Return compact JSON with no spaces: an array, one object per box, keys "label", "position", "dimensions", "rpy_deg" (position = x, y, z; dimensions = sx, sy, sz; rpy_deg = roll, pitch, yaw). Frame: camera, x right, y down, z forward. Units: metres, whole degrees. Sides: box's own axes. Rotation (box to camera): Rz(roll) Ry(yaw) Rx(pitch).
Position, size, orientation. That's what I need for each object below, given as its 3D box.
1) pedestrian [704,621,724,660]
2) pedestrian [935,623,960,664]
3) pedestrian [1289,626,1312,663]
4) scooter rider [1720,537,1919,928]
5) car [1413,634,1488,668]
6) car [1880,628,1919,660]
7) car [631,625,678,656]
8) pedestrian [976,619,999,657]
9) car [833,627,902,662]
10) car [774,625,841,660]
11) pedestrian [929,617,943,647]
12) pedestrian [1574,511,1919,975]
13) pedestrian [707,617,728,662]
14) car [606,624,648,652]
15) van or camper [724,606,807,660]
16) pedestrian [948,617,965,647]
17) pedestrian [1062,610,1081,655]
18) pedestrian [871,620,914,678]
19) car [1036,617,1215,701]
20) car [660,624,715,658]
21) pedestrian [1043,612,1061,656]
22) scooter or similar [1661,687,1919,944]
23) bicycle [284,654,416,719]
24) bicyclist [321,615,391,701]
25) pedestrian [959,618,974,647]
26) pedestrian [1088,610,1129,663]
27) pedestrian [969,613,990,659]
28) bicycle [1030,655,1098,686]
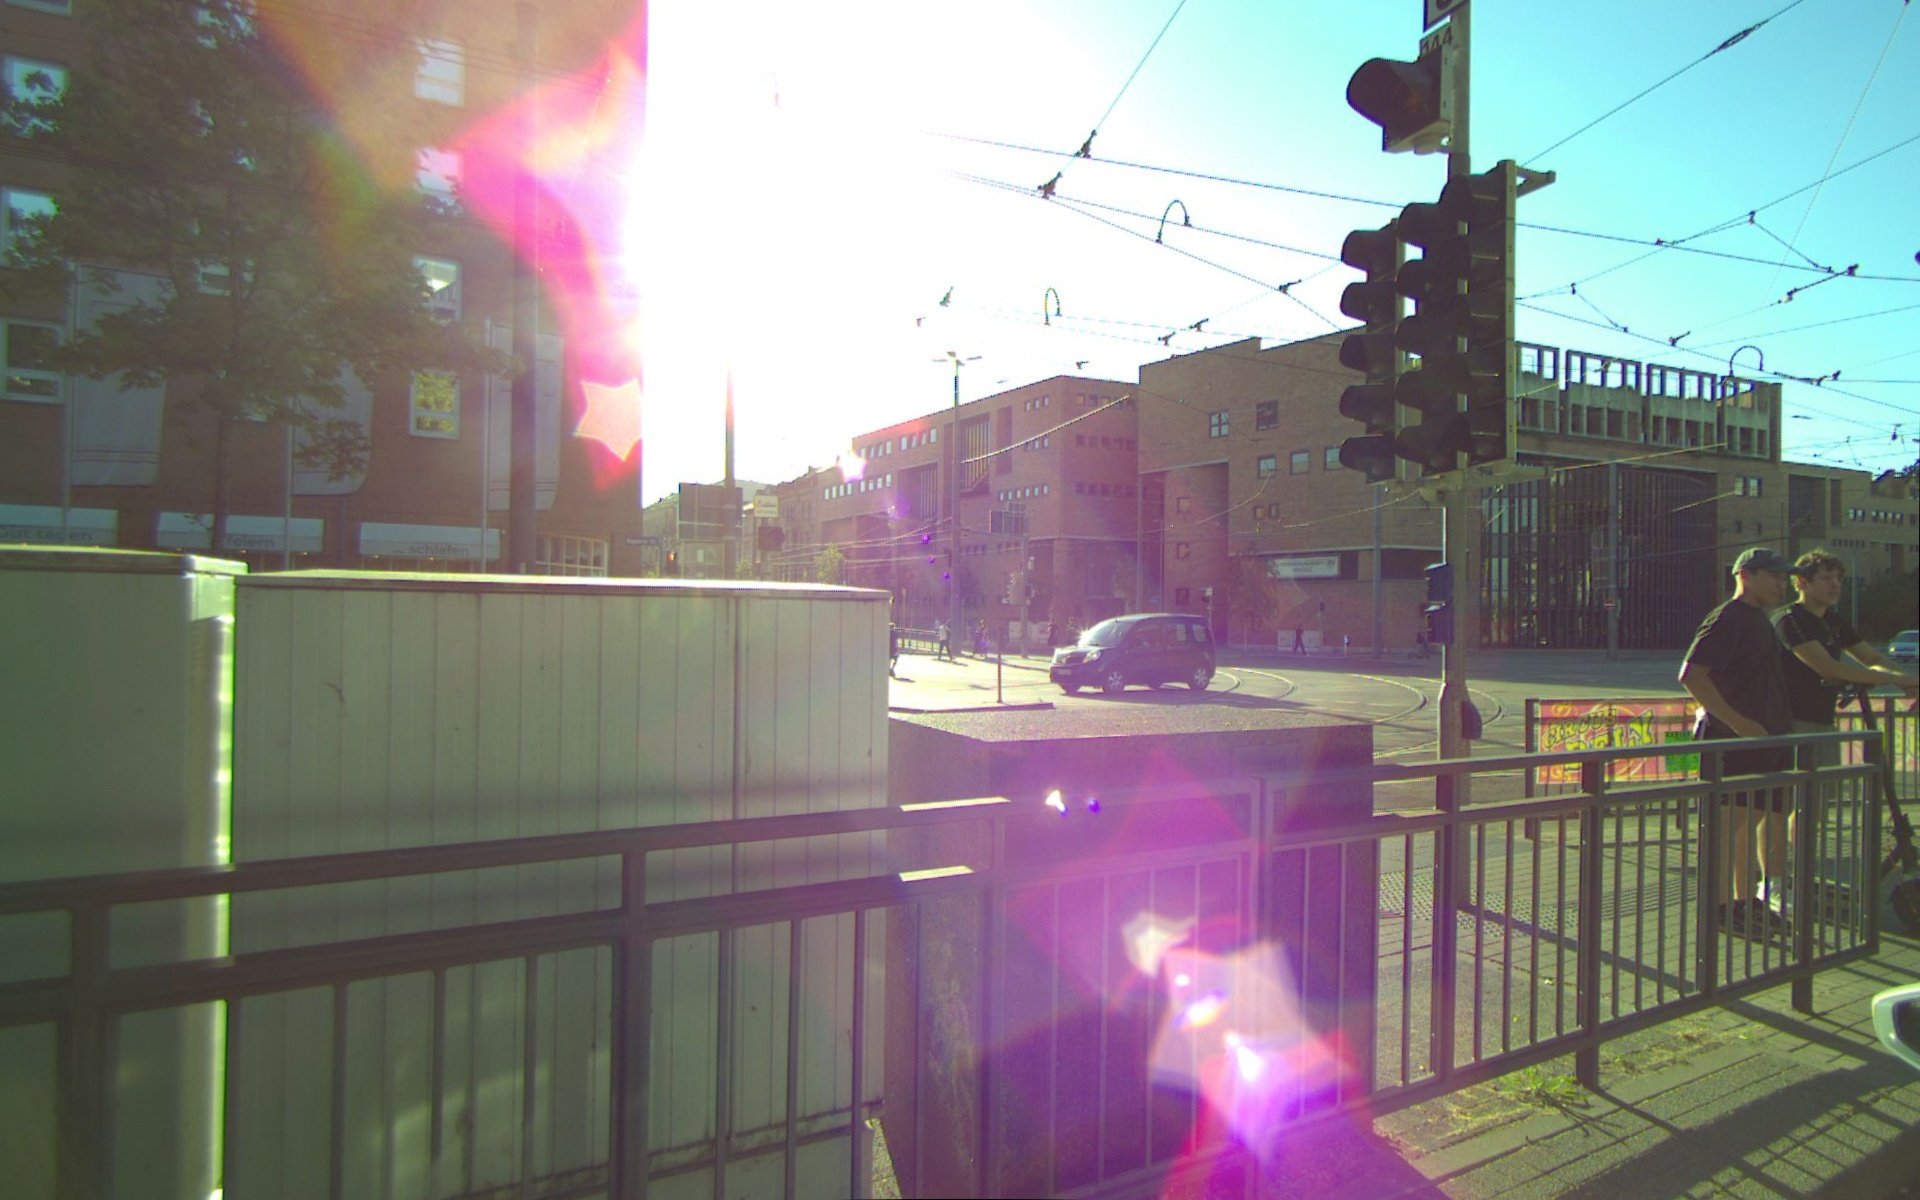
[{"label":"pedestrian","position":[-11.693,1.924,47.711],"dimensions":[0.597,1.843,0.848],"rpy_deg":[1,-1,-38]},{"label":"pedestrian","position":[-0.545,1.874,43.730],"dimensions":[0.857,1.775,0.672],"rpy_deg":[1,-1,-30]},{"label":"pedestrian","position":[18.021,2.338,53.198],"dimensions":[0.866,1.927,0.718],"rpy_deg":[2,0,-33]},{"label":"scooter rider","position":[4.475,0.655,5.239],"dimensions":[0.670,1.877,0.564],"rpy_deg":[3,-2,-25]},{"label":"car","position":[30.197,3.115,61.818],"dimensions":[4.134,2.040,1.989],"rpy_deg":[1,-2,-24]},{"label":"car","position":[48.922,2.258,51.693],"dimensions":[3.962,1.598,1.610],"rpy_deg":[1,-2,-36]},{"label":"car","position":[-18.211,2.402,59.799],"dimensions":[1.738,1.750,3.965],"rpy_deg":[1,-2,-32]},{"label":"pedestrian","position":[1.276,1.801,47.350],"dimensions":[0.860,1.775,0.670],"rpy_deg":[1,-2,-39]},{"label":"car","position":[-4.817,2.237,51.806],"dimensions":[1.978,1.709,3.965],"rpy_deg":[1,-2,-33]},{"label":"car","position":[-7.808,2.144,51.181],"dimensions":[1.978,1.709,3.965],"rpy_deg":[1,-2,-33]},{"label":"pedestrian","position":[-1.648,2.232,69.953],"dimensions":[0.644,2.040,0.780],"rpy_deg":[1,-1,-32]},{"label":"pedestrian","position":[3.807,0.606,4.850],"dimensions":[0.843,1.908,1.164],"rpy_deg":[1,-1,-25]},{"label":"pedestrian","position":[-11.071,1.787,45.854],"dimensions":[0.597,2.040,0.848],"rpy_deg":[1,-1,-38]},{"label":"car","position":[-21.711,2.447,65.409],"dimensions":[1.738,1.750,3.965],"rpy_deg":[1,-2,-32]},{"label":"van or camper","position":[-9.366,1.568,47.981],"dimensions":[1.981,2.451,4.980],"rpy_deg":[1,-2,-36]},{"label":"pedestrian","position":[-0.249,2.193,67.935],"dimensions":[0.917,2.010,0.780],"rpy_deg":[1,-1,-32]},{"label":"pedestrian","position":[5.158,1.503,46.355],"dimensions":[0.603,2.040,0.731],"rpy_deg":[0,-1,30]},{"label":"pedestrian","position":[-2.203,1.581,32.676],"dimensions":[0.943,1.822,0.988],"rpy_deg":[2,0,41]},{"label":"car","position":[3.898,1.342,23.488],"dimensions":[3.958,1.785,1.856],"rpy_deg":[1,-2,-34]},{"label":"car","position":[-14.894,2.192,54.781],"dimensions":[1.739,1.750,3.963],"rpy_deg":[1,-2,-33]},{"label":"pedestrian","position":[4.312,1.590,46.965],"dimensions":[0.603,2.040,0.731],"rpy_deg":[0,-1,30]},{"label":"scooter or similar","position":[4.466,1.041,5.216],"dimensions":[0.639,1.095,1.199],"rpy_deg":[1,-1,-25]},{"label":"bicycle","position":[-10.966,1.530,18.090],"dimensions":[1.993,1.064,0.647],"rpy_deg":[2,-1,-35]},{"label":"bicyclist","position":[-10.889,1.038,18.120],"dimensions":[1.022,1.494,0.649],"rpy_deg":[2,-1,-35]},{"label":"pedestrian","position":[0.442,2.216,68.419],"dimensions":[0.742,2.010,0.780],"rpy_deg":[1,-1,-32]},{"label":"pedestrian","position":[5.941,1.445,40.120],"dimensions":[1.193,2.040,1.028],"rpy_deg":[2,0,-30]},{"label":"pedestrian","position":[0.891,1.615,45.207],"dimensions":[0.726,2.040,0.607],"rpy_deg":[1,-1,-39]},{"label":"bicycle","position":[2.843,1.898,27.377],"dimensions":[1.948,0.781,0.586],"rpy_deg":[1,-2,-35]}]
